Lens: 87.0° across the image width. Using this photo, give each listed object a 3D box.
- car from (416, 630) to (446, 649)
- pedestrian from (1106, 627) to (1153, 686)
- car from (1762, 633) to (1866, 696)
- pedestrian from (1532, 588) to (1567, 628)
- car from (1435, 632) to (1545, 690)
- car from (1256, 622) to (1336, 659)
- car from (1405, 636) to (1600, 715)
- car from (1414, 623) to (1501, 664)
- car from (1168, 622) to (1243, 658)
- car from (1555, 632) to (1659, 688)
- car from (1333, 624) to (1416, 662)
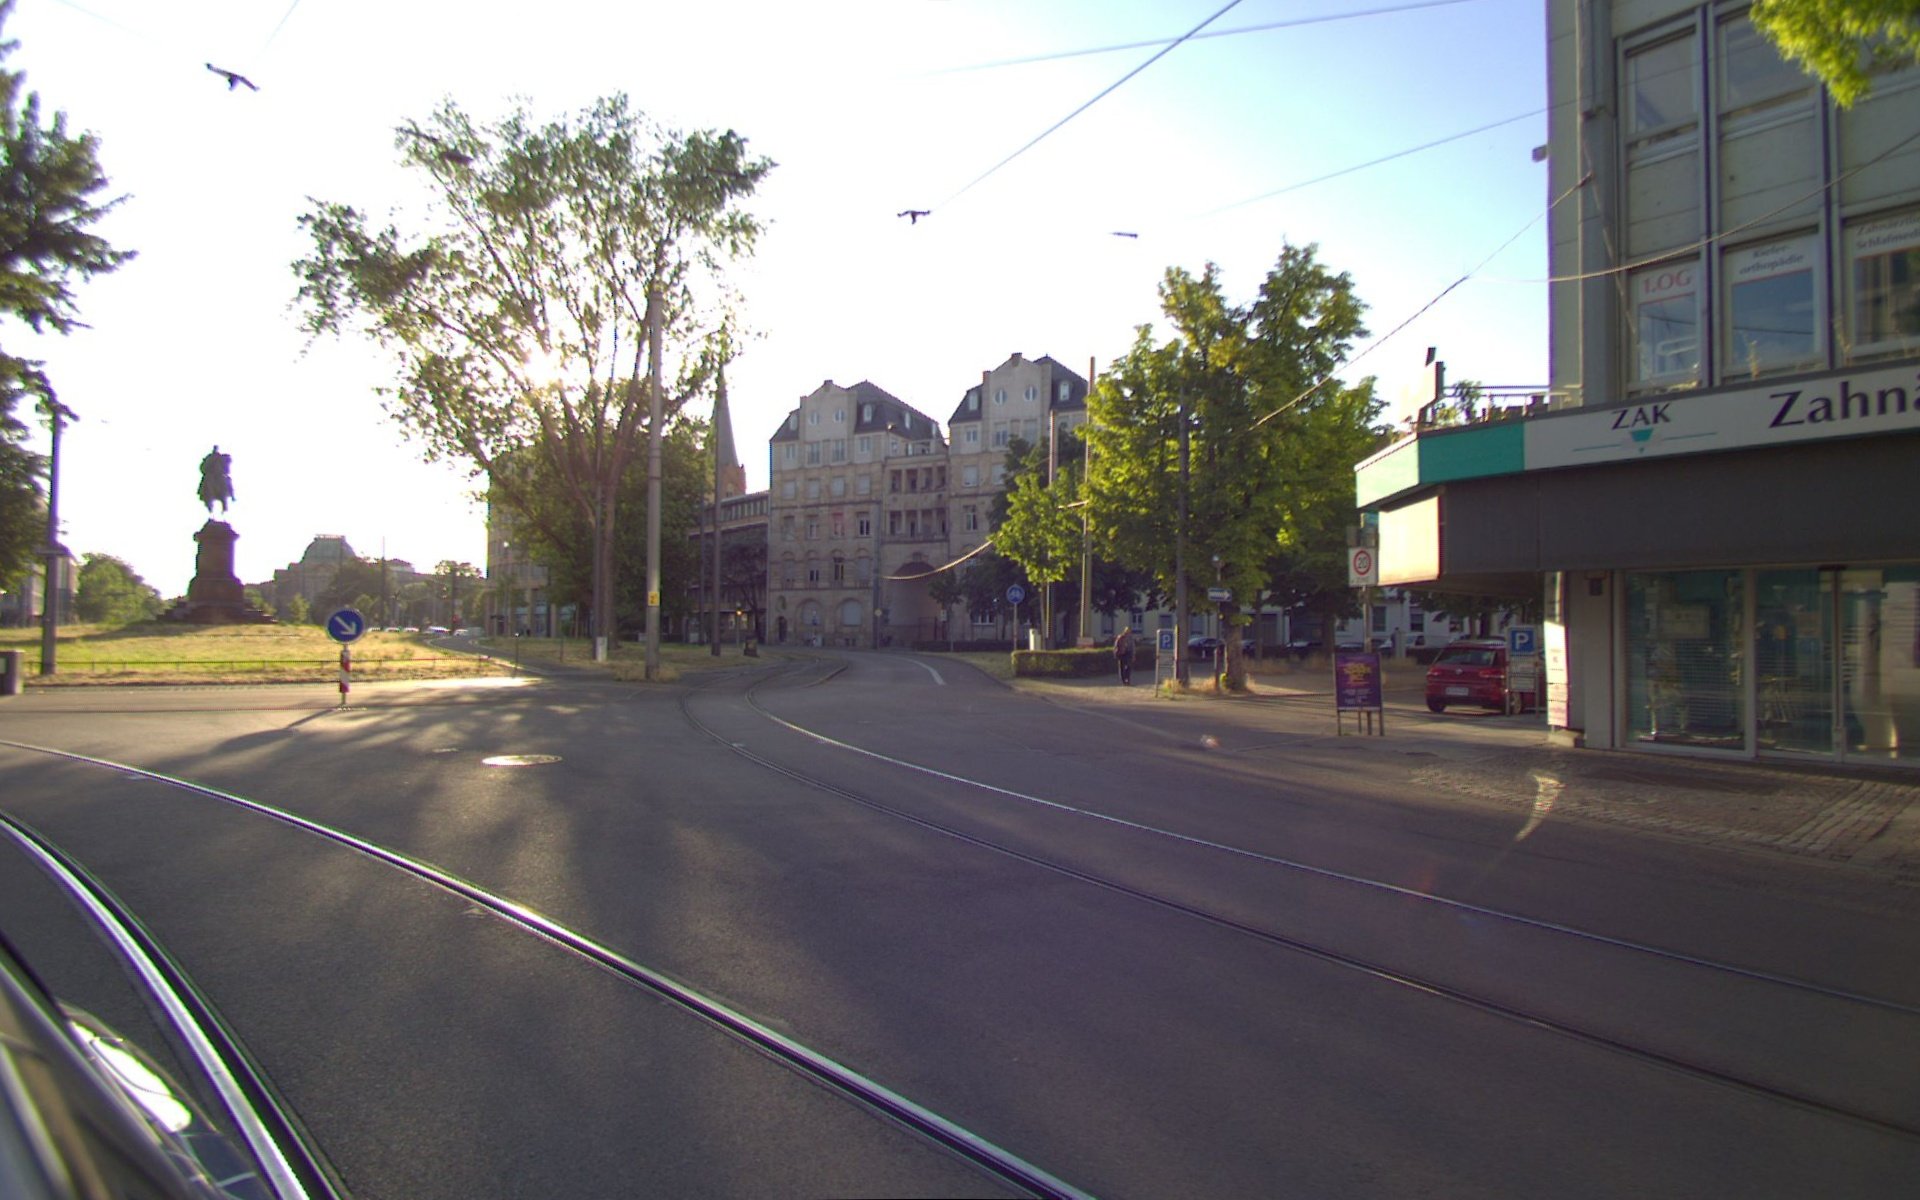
[{"bbox_3d":[-60.403,4.492,115.558,1.969,2.029,4.554,2,-2,-42],"label":"car"},{"bbox_3d":[5.009,1.666,29.995,0.891,1.715,1.166,2,-2,-22],"label":"pedestrian"},{"bbox_3d":[29.390,2.169,34.793,3.936,2.029,2.004,2,-2,-39],"label":"car"},{"bbox_3d":[30.859,0.417,52.989,1.442,2.029,1.121,2,-2,-39],"label":"pedestrian"},{"bbox_3d":[16.909,1.906,32.224,2.001,1.697,3.941,-1,-3,45],"label":"car"},{"bbox_3d":[19.145,2.303,57.724,3.986,2.029,1.978,-1,-2,32],"label":"car"},{"bbox_3d":[11.600,1.540,21.607,3.933,1.496,2.032,2,-2,-33],"label":"car"},{"bbox_3d":[26.272,2.272,53.445,3.986,2.029,1.978,-1,-2,32],"label":"car"},{"bbox_3d":[14.608,2.370,60.216,3.986,2.029,1.978,-1,-2,32],"label":"car"},{"bbox_3d":[25.051,2.275,39.137,3.933,2.029,2.005,2,-2,-34],"label":"car"},{"bbox_3d":[22.746,2.336,55.575,3.986,2.029,1.978,-1,-2,32],"label":"car"}]
